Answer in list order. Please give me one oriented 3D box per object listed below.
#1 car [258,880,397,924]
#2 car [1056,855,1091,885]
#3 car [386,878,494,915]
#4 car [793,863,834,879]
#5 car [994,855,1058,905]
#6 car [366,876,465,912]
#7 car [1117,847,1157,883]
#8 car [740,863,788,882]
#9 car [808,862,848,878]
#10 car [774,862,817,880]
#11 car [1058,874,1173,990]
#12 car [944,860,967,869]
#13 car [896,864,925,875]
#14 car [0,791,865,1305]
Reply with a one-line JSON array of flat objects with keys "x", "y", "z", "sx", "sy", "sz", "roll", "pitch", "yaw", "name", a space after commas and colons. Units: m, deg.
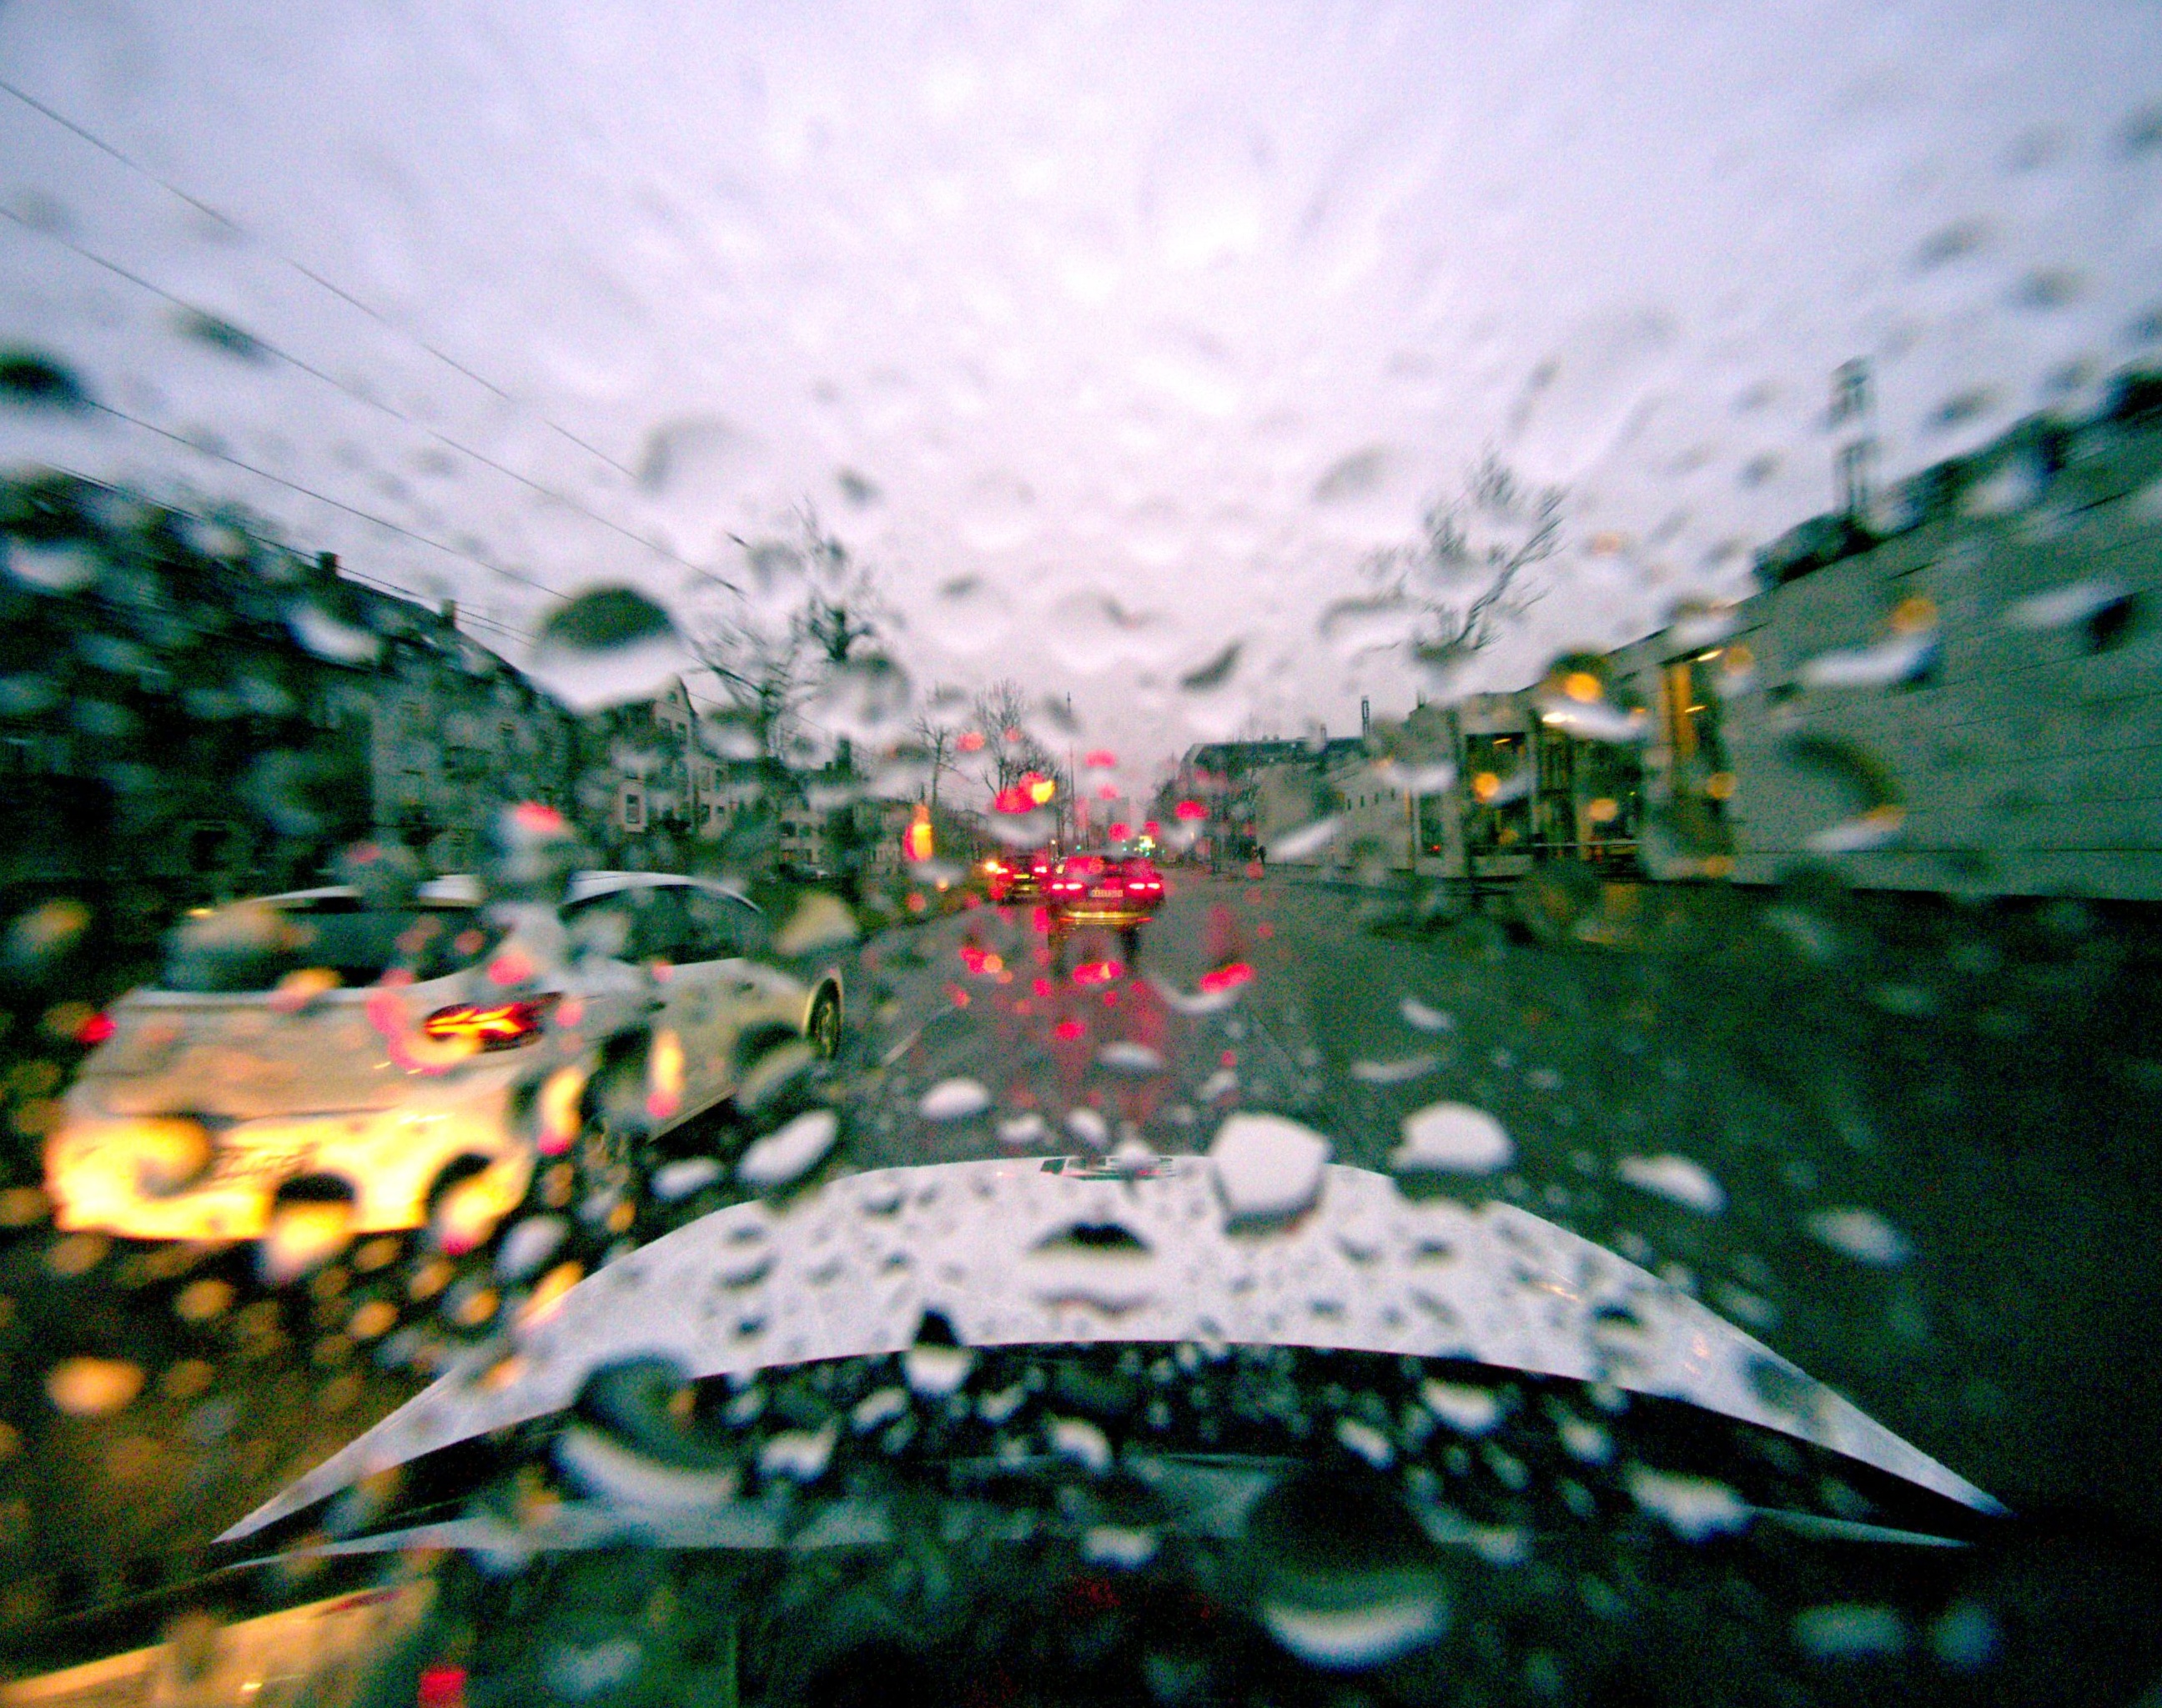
[{"x": -28.317, "y": 1.765, "z": 30.761, "sx": 1.769, "sy": 1.354, "sz": 3.559, "roll": -2, "pitch": 0, "yaw": 2, "name": "car"}, {"x": -0.397, "y": 0.878, "z": 46.565, "sx": 1.665, "sy": 1.600, "sz": 4.057, "roll": -1, "pitch": 0, "yaw": 4, "name": "car"}, {"x": -28.067, "y": 1.809, "z": 35.795, "sx": 1.769, "sy": 1.354, "sz": 3.559, "roll": -2, "pitch": 0, "yaw": 2, "name": "car"}, {"x": -23.959, "y": 1.526, "z": 72.876, "sx": 3.510, "sy": 1.354, "sz": 1.793, "roll": -2, "pitch": 0, "yaw": 36, "name": "car"}, {"x": -1.831, "y": 0.841, "z": 28.244, "sx": 1.665, "sy": 1.600, "sz": 4.057, "roll": -1, "pitch": 0, "yaw": 4, "name": "car"}, {"x": -32.407, "y": 1.932, "z": 39.802, "sx": 1.769, "sy": 1.500, "sz": 3.559, "roll": -2, "pitch": 0, "yaw": 2, "name": "car"}, {"x": 2.937, "y": 0.535, "z": 42.830, "sx": 1.985, "sy": 1.744, "sz": 4.004, "roll": -2, "pitch": 0, "yaw": 4, "name": "car"}, {"x": -24.501, "y": 1.429, "z": 62.844, "sx": 3.510, "sy": 1.354, "sz": 1.793, "roll": -2, "pitch": 0, "yaw": 36, "name": "car"}, {"x": -23.765, "y": 1.545, "z": 76.532, "sx": 3.510, "sy": 1.354, "sz": 1.793, "roll": -2, "pitch": 0, "yaw": 36, "name": "car"}, {"x": -24.276, "y": 1.438, "z": 69.234, "sx": 3.510, "sy": 1.354, "sz": 1.793, "roll": -2, "pitch": 0, "yaw": 36, "name": "car"}, {"x": 0.637, "y": 1.206, "z": 14.009, "sx": 1.665, "sy": 1.600, "sz": 4.057, "roll": -1, "pitch": 0, "yaw": 4, "name": "car"}, {"x": -20.534, "y": 1.739, "z": 133.375, "sx": 3.510, "sy": 1.354, "sz": 1.793, "roll": -2, "pitch": 0, "yaw": 36, "name": "car"}, {"x": -22.457, "y": 2.012, "z": 107.298, "sx": 3.510, "sy": 1.354, "sz": 1.793, "roll": -2, "pitch": 0, "yaw": 36, "name": "car"}, {"x": -2.608, "y": 0.620, "z": 4.620, "sx": 1.666, "sy": 1.600, "sz": 4.053, "roll": -1, "pitch": 0, "yaw": 0, "name": "car"}]
